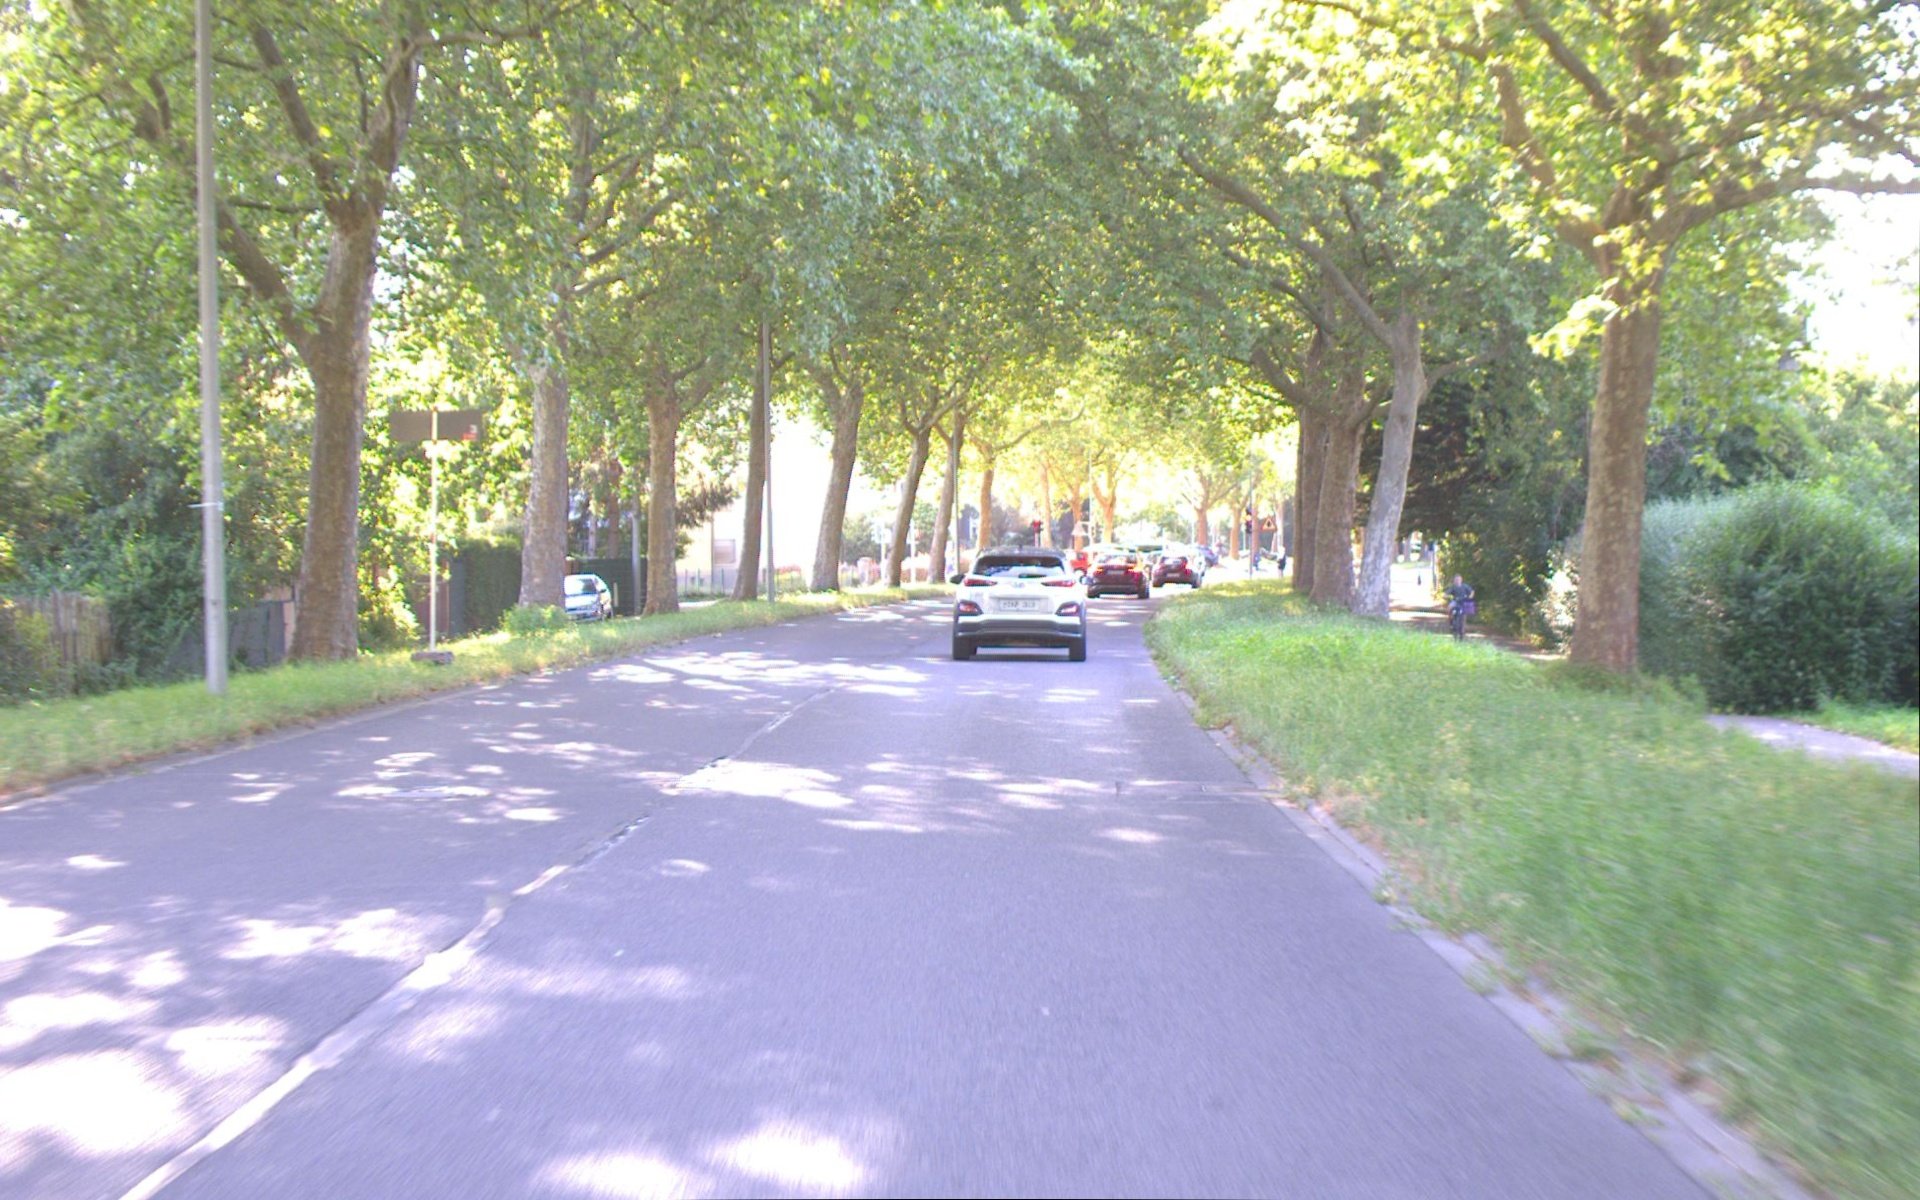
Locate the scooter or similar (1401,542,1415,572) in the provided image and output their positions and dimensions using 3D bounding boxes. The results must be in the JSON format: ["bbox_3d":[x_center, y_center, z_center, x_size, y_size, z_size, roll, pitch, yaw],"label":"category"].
[{"bbox_3d":[19.224,-1.844,147.554,0.549,1.254,2.312,1,0,8],"label":"scooter or similar"}]

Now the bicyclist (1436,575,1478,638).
[{"bbox_3d":[10.884,0.141,75.327,0.734,1.361,0.771,1,0,-4],"label":"bicyclist"}]

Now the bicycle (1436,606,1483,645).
[{"bbox_3d":[10.901,0.562,75.084,0.552,0.814,1.889,1,0,-6],"label":"bicycle"}]

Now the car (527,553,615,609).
[{"bbox_3d":[-10.029,-0.512,88.845,1.752,1.300,4.000,-1,2,1],"label":"car"}]

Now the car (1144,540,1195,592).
[{"bbox_3d":[8.488,-1.366,138.900,1.994,2.007,3.999,1,0,4],"label":"car"}]

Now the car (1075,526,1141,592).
[{"bbox_3d":[4.656,-1.263,107.463,1.994,2.007,4.000,1,0,3],"label":"car"}]

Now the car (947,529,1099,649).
[{"bbox_3d":[0.920,-0.163,47.761,1.994,1.569,4.000,1,1,2],"label":"car"}]
